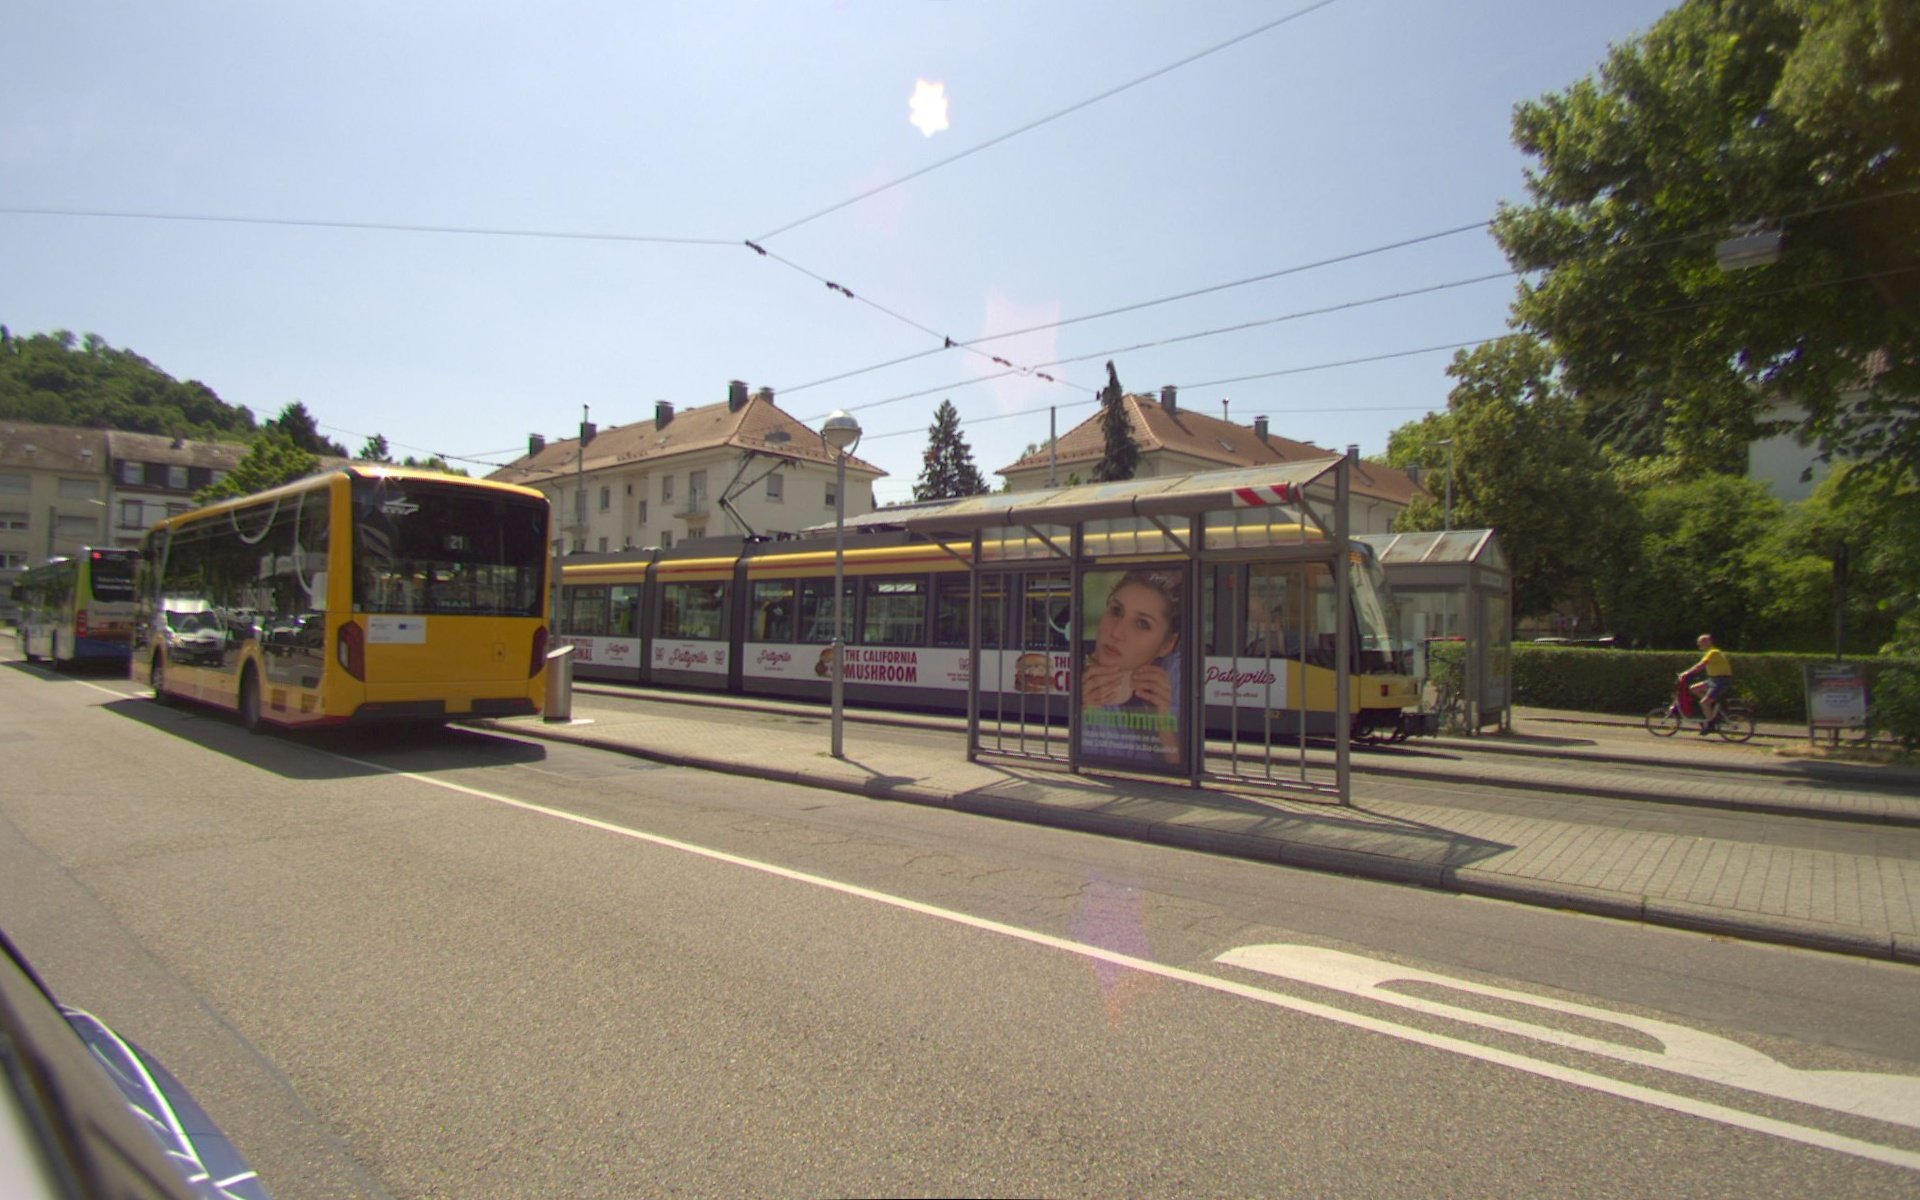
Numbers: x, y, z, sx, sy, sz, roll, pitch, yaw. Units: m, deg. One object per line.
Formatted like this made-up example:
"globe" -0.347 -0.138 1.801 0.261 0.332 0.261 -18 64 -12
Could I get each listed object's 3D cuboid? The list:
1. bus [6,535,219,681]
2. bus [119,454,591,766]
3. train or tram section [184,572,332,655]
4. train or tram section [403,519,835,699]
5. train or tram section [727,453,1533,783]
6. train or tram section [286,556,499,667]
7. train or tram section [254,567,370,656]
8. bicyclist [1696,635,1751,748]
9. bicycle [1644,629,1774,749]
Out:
"bus" -24.628 0.317 29.042 12.033 3.453 2.877 -2 -1 41
"bus" -10.150 0.049 15.803 12.194 3.272 2.867 1 0 42
"train or tram section" -33.924 0.622 48.553 12.708 3.521 2.932 0 -1 42
"train or tram section" -10.260 0.237 27.499 17.345 3.670 2.932 0 -1 42
"train or tram section" 1.447 0.246 17.034 13.989 3.670 2.932 0 -1 42
"train or tram section" -21.296 0.398 37.397 12.652 3.521 2.932 0 -1 42
"train or tram section" -27.560 0.535 43.000 4.416 3.522 2.932 -1 -3 41
"bicyclist" 12.532 1.478 16.606 0.672 1.757 0.628 1 0 41
"bicycle" 12.360 1.427 16.719 1.669 1.827 0.625 1 0 42
